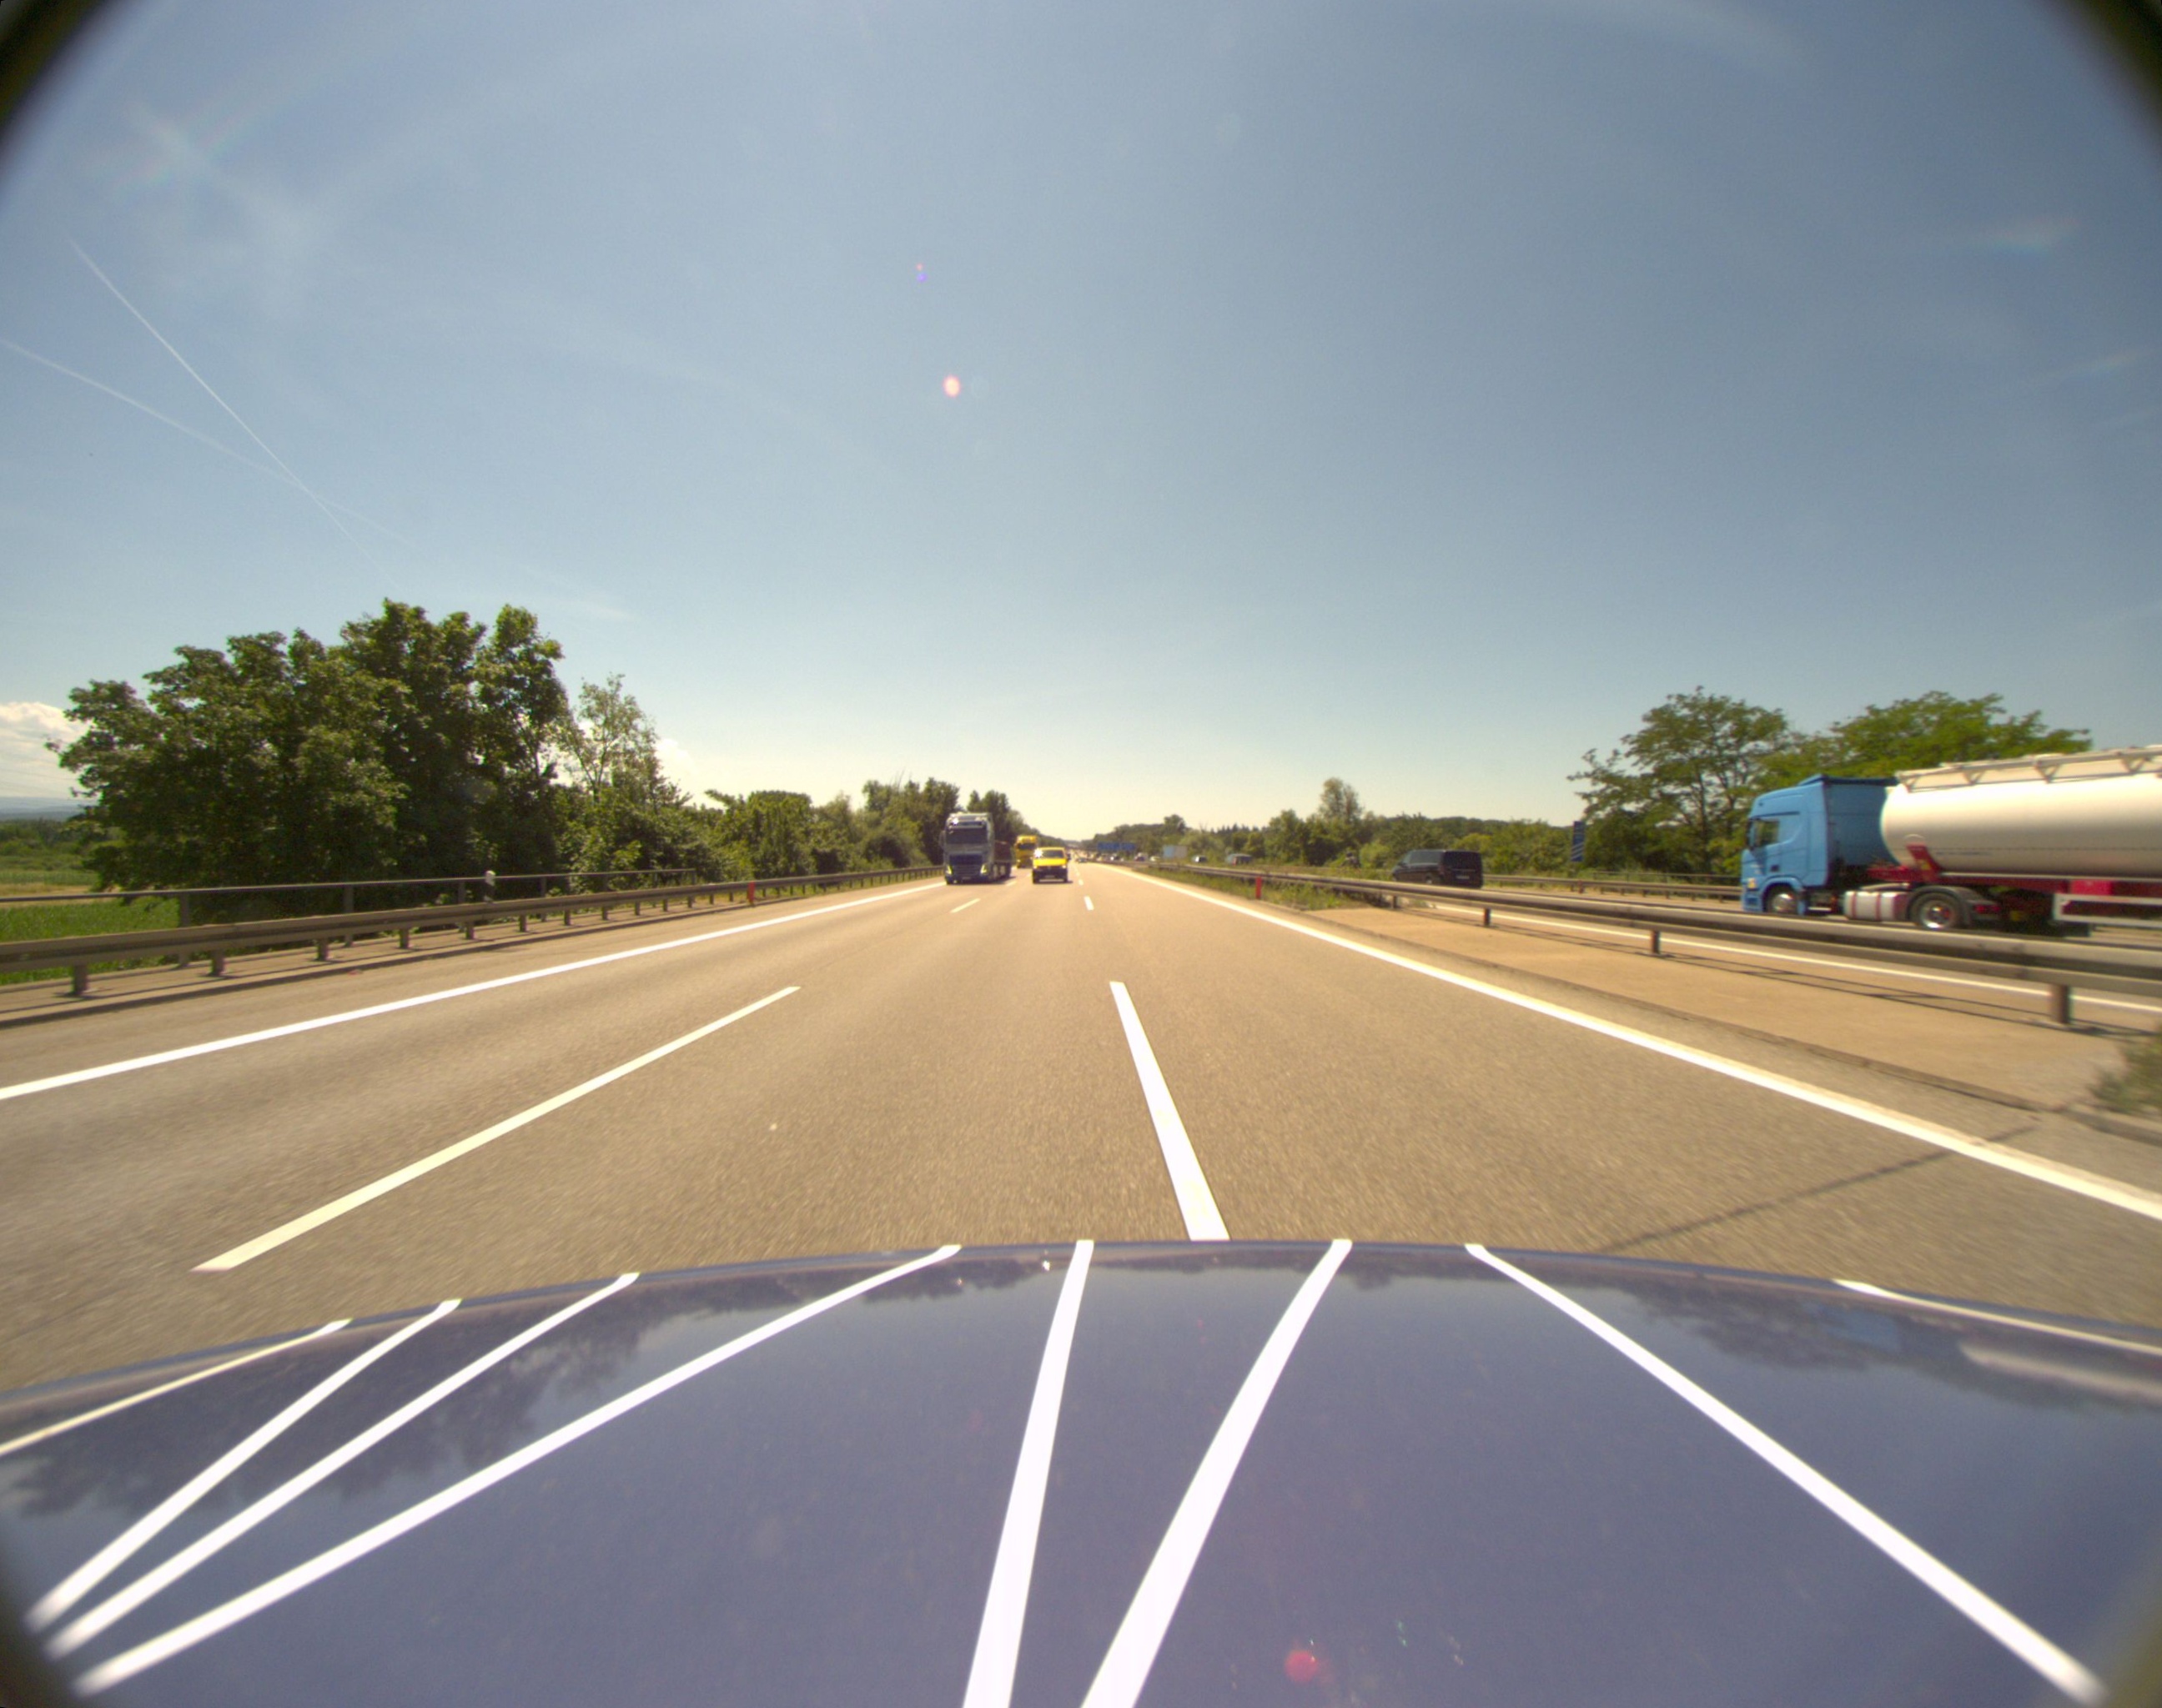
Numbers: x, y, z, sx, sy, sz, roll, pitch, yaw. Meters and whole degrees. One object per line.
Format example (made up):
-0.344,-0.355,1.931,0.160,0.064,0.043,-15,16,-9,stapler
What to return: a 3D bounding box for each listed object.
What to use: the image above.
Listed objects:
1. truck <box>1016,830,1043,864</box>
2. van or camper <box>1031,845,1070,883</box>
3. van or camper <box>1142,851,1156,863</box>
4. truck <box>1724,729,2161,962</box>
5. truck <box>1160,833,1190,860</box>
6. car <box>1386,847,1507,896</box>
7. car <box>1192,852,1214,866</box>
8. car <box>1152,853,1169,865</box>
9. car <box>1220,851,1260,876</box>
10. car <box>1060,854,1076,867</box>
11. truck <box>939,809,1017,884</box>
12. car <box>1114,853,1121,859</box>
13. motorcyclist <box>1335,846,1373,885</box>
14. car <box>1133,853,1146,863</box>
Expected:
-6.736,-0.888,102.357,2.852,4.233,16.787,0,0,-1,truck
-1.632,0.534,42.157,1.999,1.898,4.970,-1,0,-1,van or camper
15.023,0.623,168.305,1.999,2.551,7.033,3,0,-2,van or camper
20.075,-0.153,14.065,2.736,4.029,15.933,0,1,0,truck
18.123,-1.366,147.569,3.234,4.692,16.856,3,0,-1,truck
15.717,0.691,33.125,2.419,1.906,5.782,1,0,0,car
15.368,0.626,95.750,1.999,1.608,3.999,1,0,-1,car
11.603,0.766,110.988,1.999,1.720,4.092,1,0,0,car
11.528,0.680,55.320,1.999,1.720,4.092,1,0,0,car
-1.539,0.812,93.378,1.845,1.565,3.999,-1,0,0,car
-6.205,-0.473,48.771,2.977,3.934,16.609,-1,0,-1,truck
10.575,0.458,219.927,1.999,1.680,4.408,1,0,-1,car
10.997,0.462,30.614,0.974,1.511,1.334,2,1,-2,motorcyclist
10.419,0.645,135.907,1.999,1.720,5.107,1,0,0,car
